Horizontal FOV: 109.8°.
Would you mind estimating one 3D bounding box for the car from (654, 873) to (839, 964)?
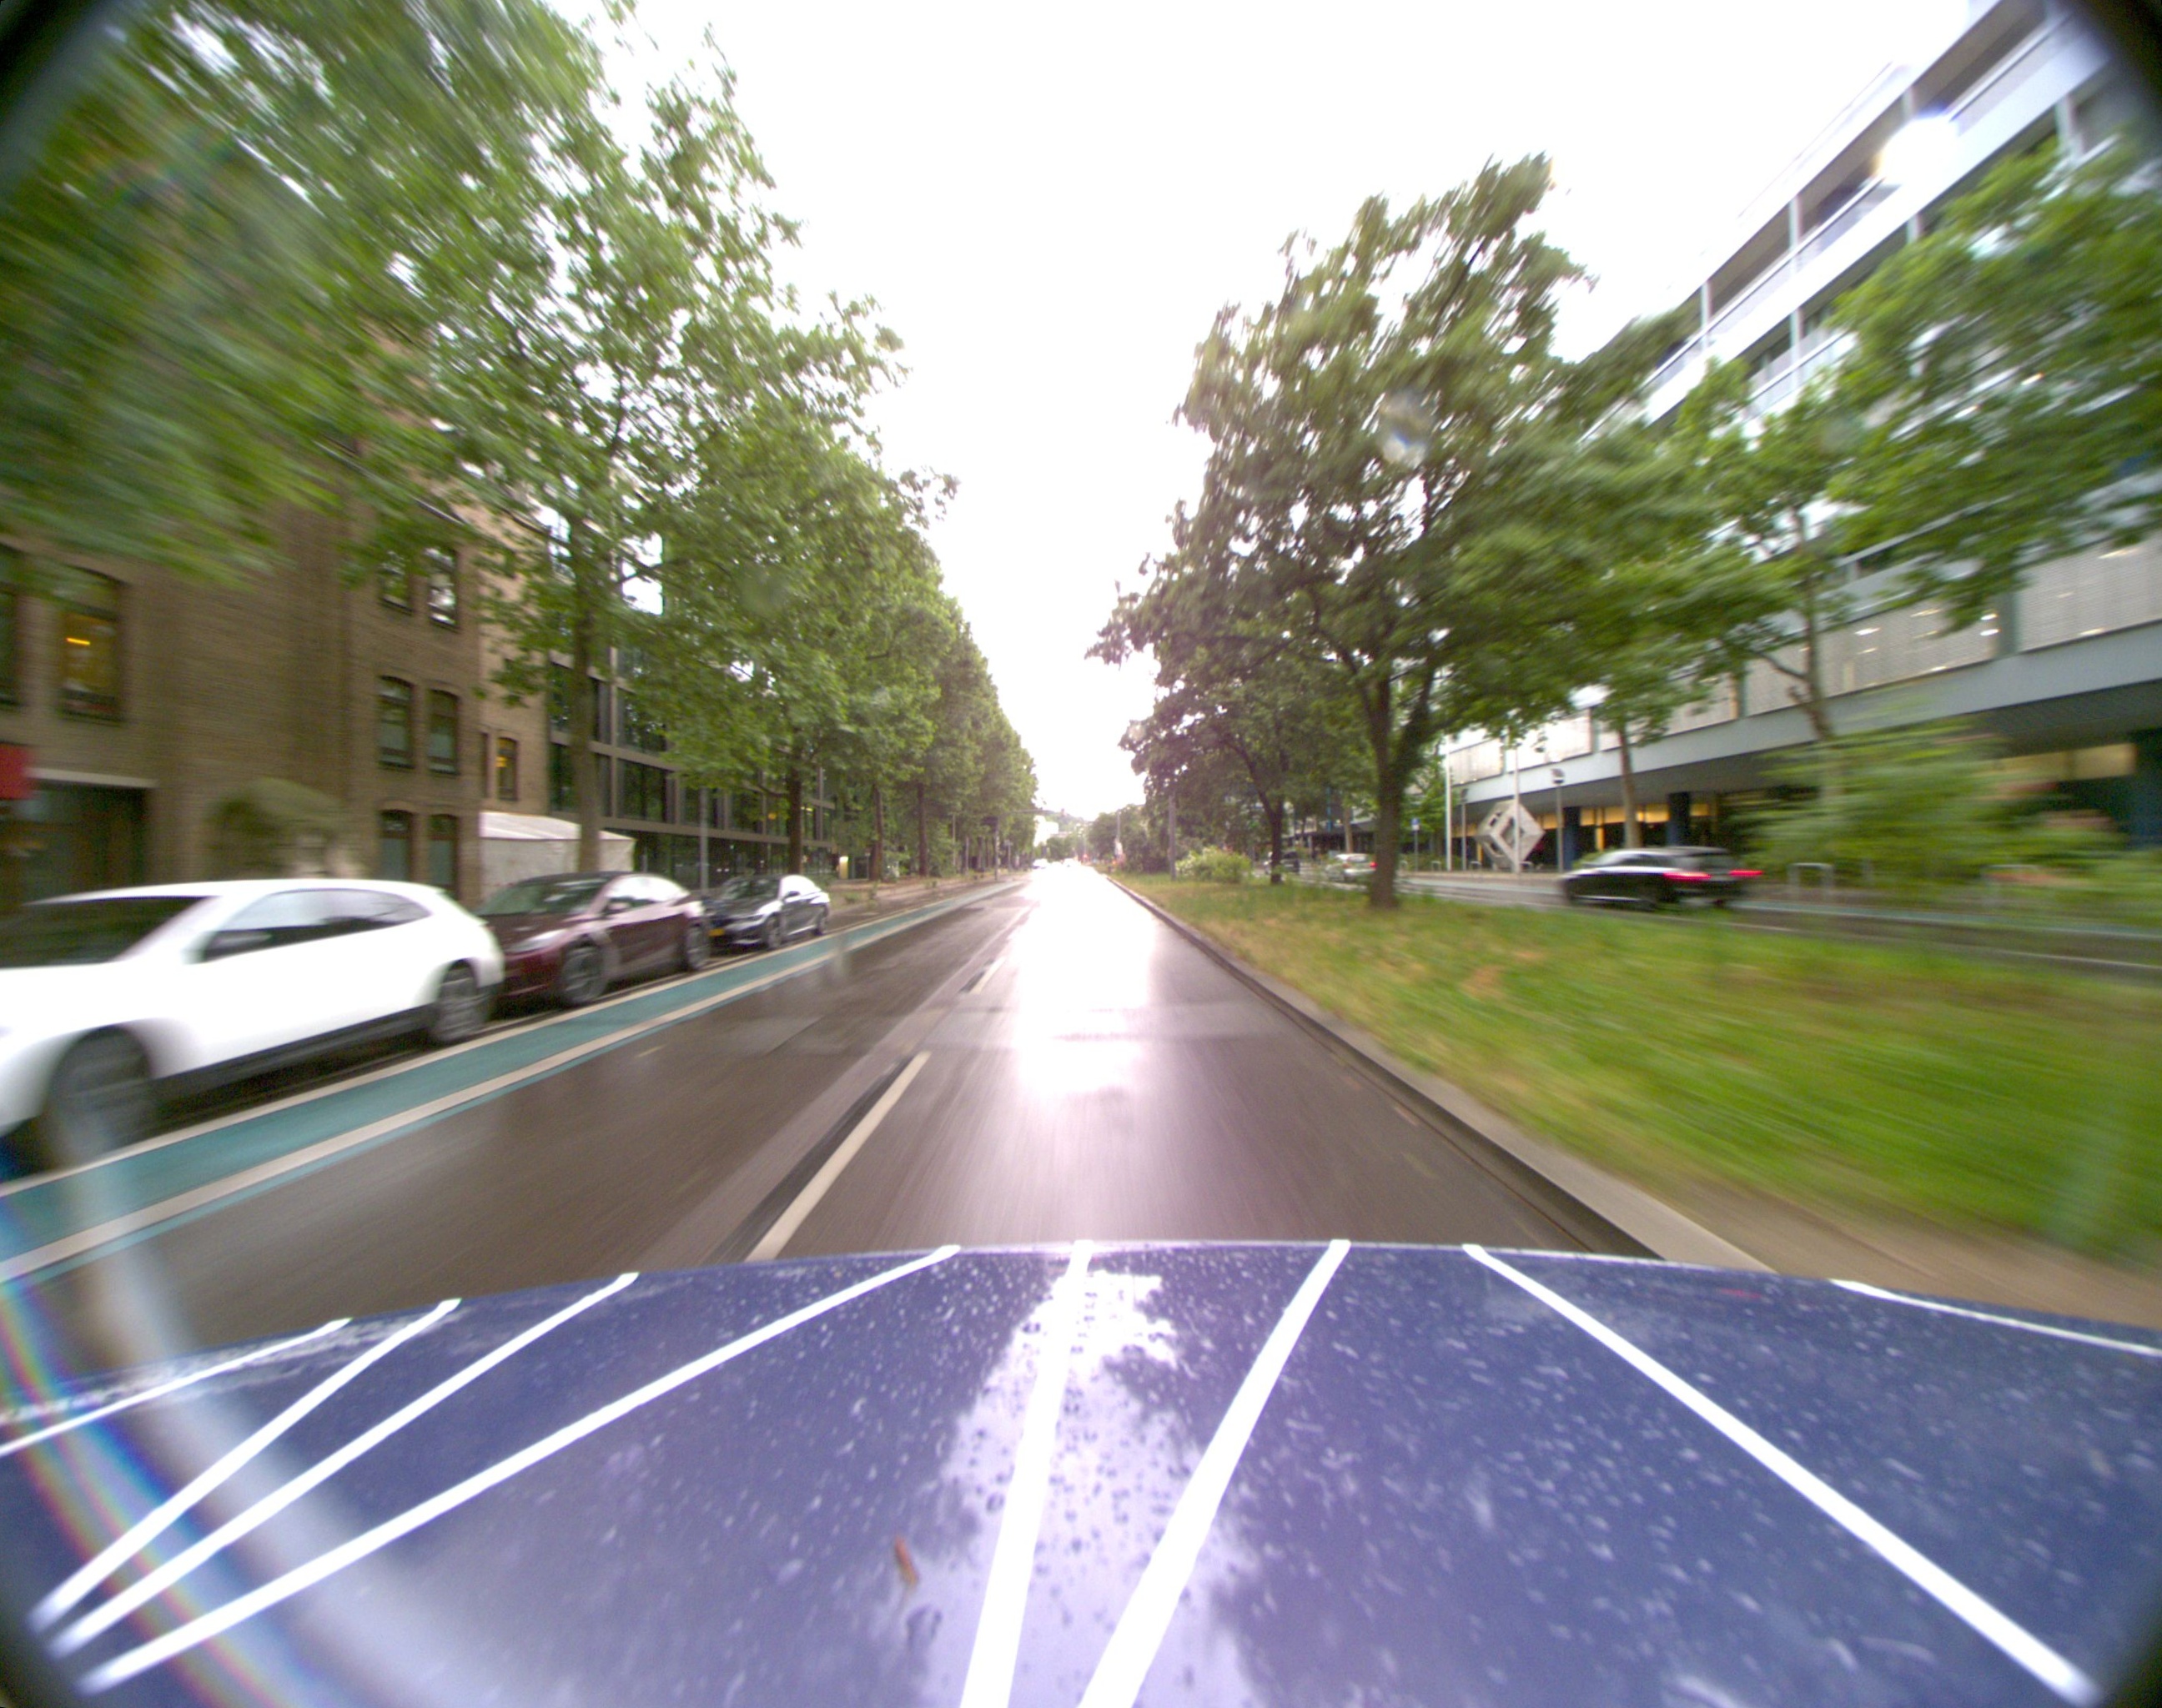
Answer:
[{"bbox_3d":[-6.721,1.213,15.907,1.747,1.424,4.585,-2,0,1],"label":"car"}]

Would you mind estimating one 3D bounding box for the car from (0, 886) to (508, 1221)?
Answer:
[{"bbox_3d":[-6.544,1.131,5.410,1.756,1.576,4.409,-2,0,-4],"label":"car"}]

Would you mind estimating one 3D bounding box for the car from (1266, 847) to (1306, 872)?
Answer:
[{"bbox_3d":[14.999,0.399,55.761,1.998,1.791,4.283,-1,0,4],"label":"car"}]

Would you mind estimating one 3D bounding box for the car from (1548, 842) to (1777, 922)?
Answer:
[{"bbox_3d":[13.669,0.602,18.329,1.998,1.483,4.758,-6,-1,4],"label":"car"}]

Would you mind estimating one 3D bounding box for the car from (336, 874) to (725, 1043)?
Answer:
[{"bbox_3d":[-6.859,1.160,10.294,1.999,1.580,4.559,-2,0,-2],"label":"car"}]

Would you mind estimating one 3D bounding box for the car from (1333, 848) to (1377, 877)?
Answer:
[{"bbox_3d":[14.266,0.418,39.730,1.163,1.454,3.561,-1,0,2],"label":"car"}]
